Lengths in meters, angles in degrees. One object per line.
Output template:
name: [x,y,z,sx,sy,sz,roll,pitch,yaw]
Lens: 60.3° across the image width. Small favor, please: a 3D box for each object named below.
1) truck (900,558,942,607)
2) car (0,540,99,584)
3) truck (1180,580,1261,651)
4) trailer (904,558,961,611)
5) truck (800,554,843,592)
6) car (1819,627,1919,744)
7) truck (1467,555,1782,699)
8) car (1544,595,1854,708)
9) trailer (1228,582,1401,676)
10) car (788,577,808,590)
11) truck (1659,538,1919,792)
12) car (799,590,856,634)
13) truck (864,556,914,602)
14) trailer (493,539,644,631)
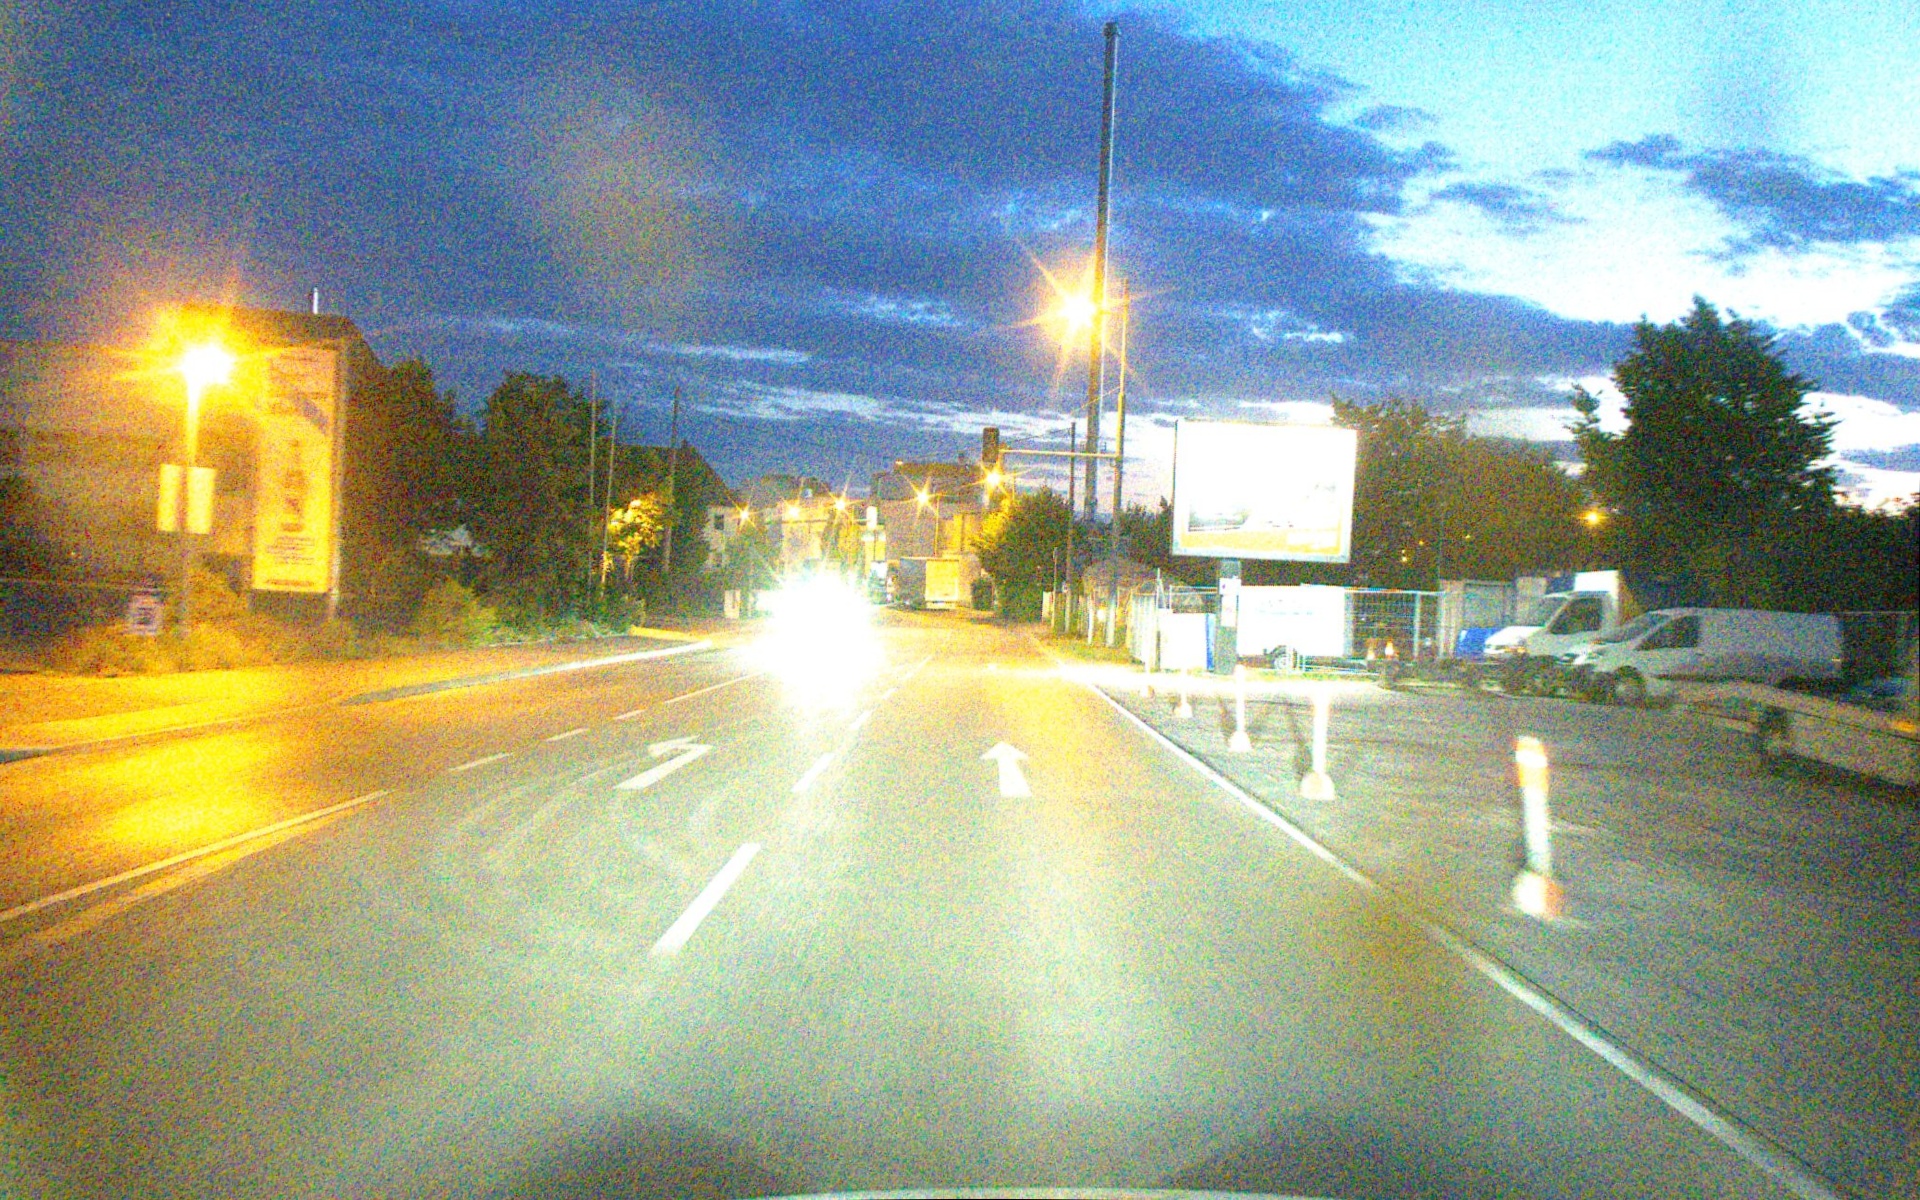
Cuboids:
truck: [-3.378,-1.546,141.159,2.777,4.052,6.039,1,1,-9]
car: [-38.660,-1.607,69.189,4.262,1.617,1.904,3,0,-15]
truck: [10.034,0.546,64.315,2.138,2.465,7.318,3,0,2]
trailer: [-2.366,-1.322,134.602,2.757,4.052,13.947,1,1,-9]
truck: [-15.477,-3.056,183.832,3.459,4.052,10.312,1,1,-12]
car: [14.480,1.244,23.374,3.778,1.542,1.708,2,0,-2]
truck: [13.575,0.538,34.071,5.418,2.645,2.472,2,0,-1]
car: [13.972,0.942,31.516,4.968,1.868,1.990,2,0,3]
trailer: [8.272,0.643,38.598,3.672,2.049,1.613,1,1,25]
car: [-19.442,-1.963,198.428,1.822,1.545,3.803,1,1,-15]
truck: [9.958,0.635,16.733,2.329,2.323,7.743,2,0,-1]
car: [-5.423,0.477,68.403,1.953,1.655,4.752,2,0,0]
truck: [-6.591,-1.971,151.583,2.781,4.052,10.308,1,1,-13]
trailer: [-12.321,-0.483,52.233,4.259,2.767,2.000,1,1,-1]
